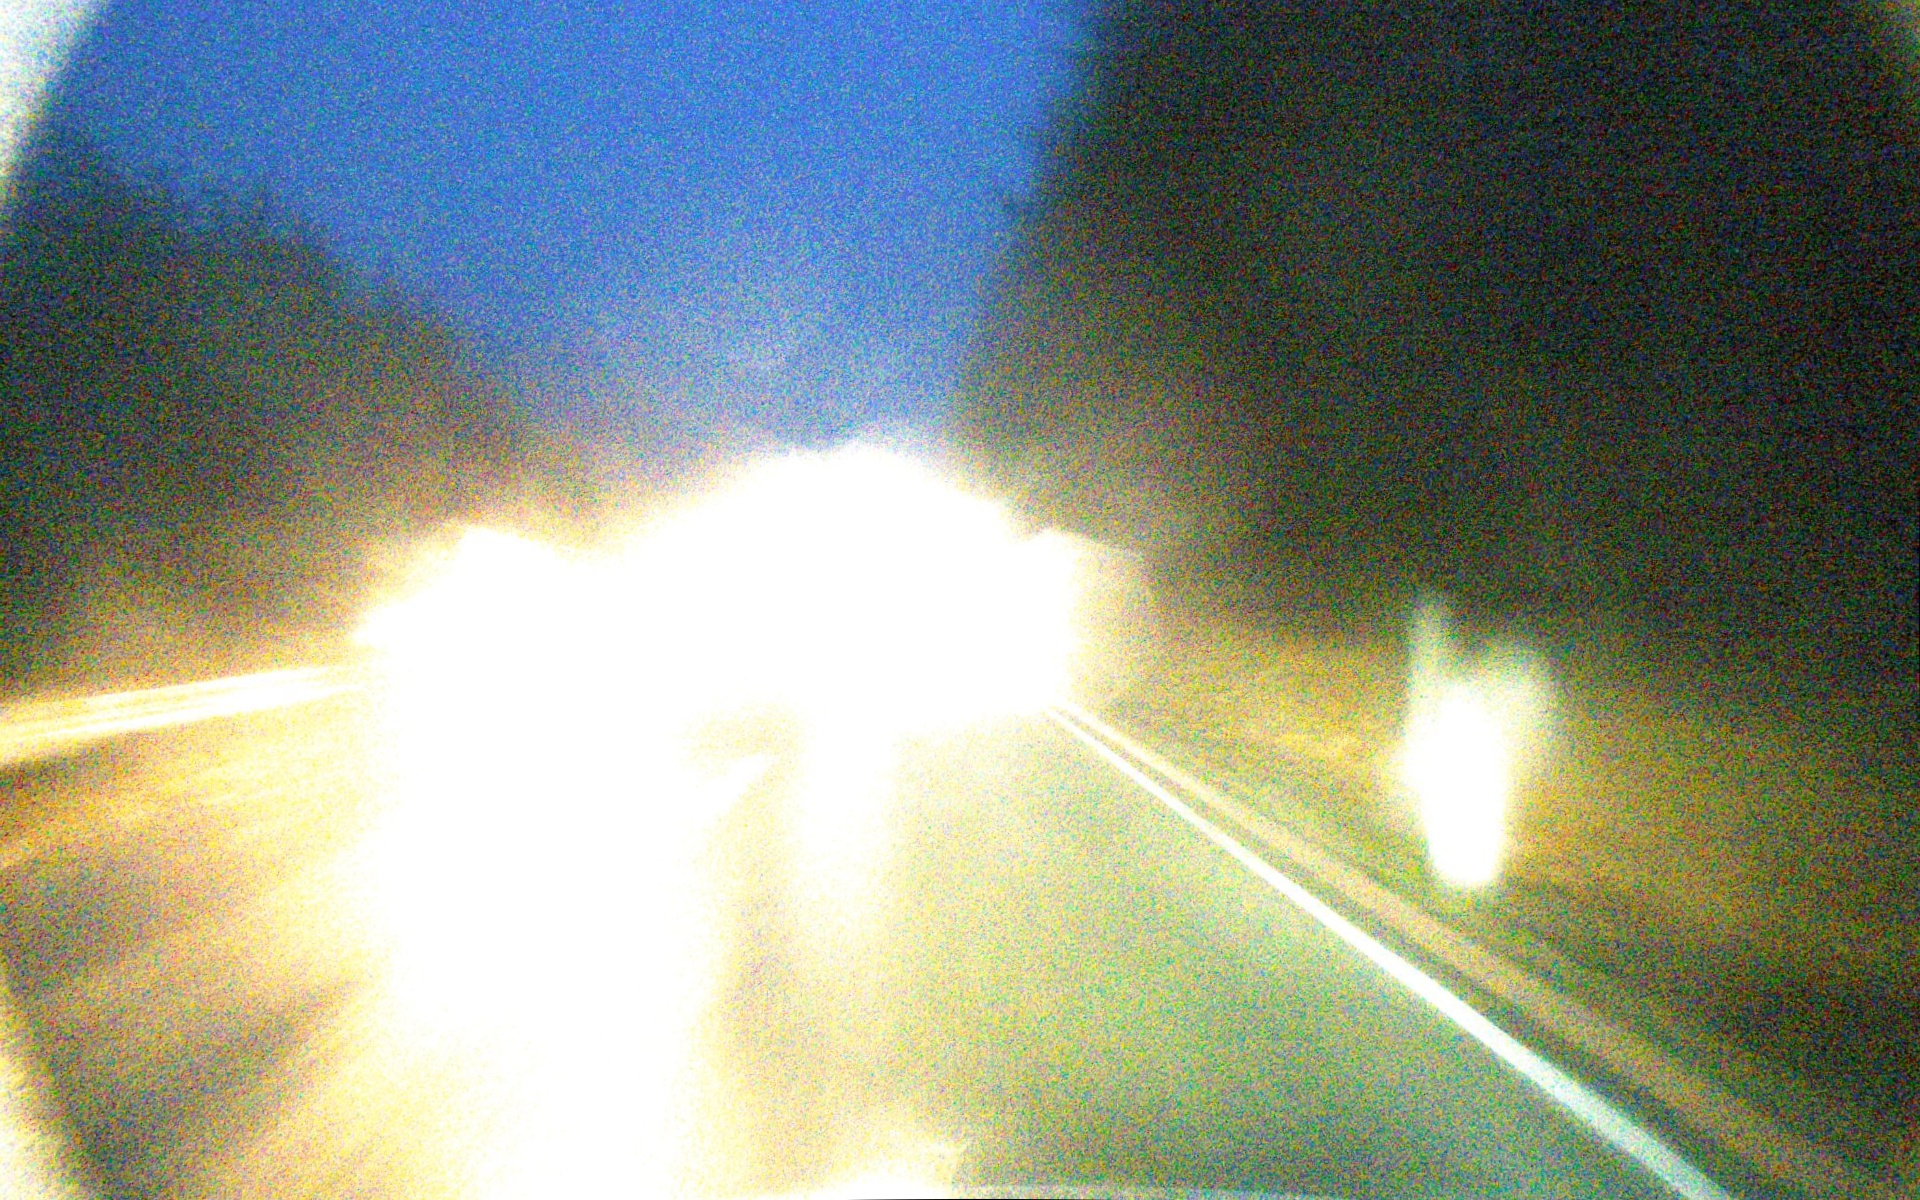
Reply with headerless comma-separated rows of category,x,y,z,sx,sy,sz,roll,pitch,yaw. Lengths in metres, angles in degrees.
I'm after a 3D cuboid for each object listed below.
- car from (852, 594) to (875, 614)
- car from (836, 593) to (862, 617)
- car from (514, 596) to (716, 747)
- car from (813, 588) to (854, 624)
car,-7.516,0.306,128.615,1.612,1.450,4.120,3,0,-4
car,-7.311,0.346,109.342,1.612,1.450,3.657,3,0,-3
car,-4.072,0.780,20.130,1.687,1.641,4.001,0,0,-1
car,-6.221,0.277,81.757,1.772,1.628,4.629,2,1,-2
